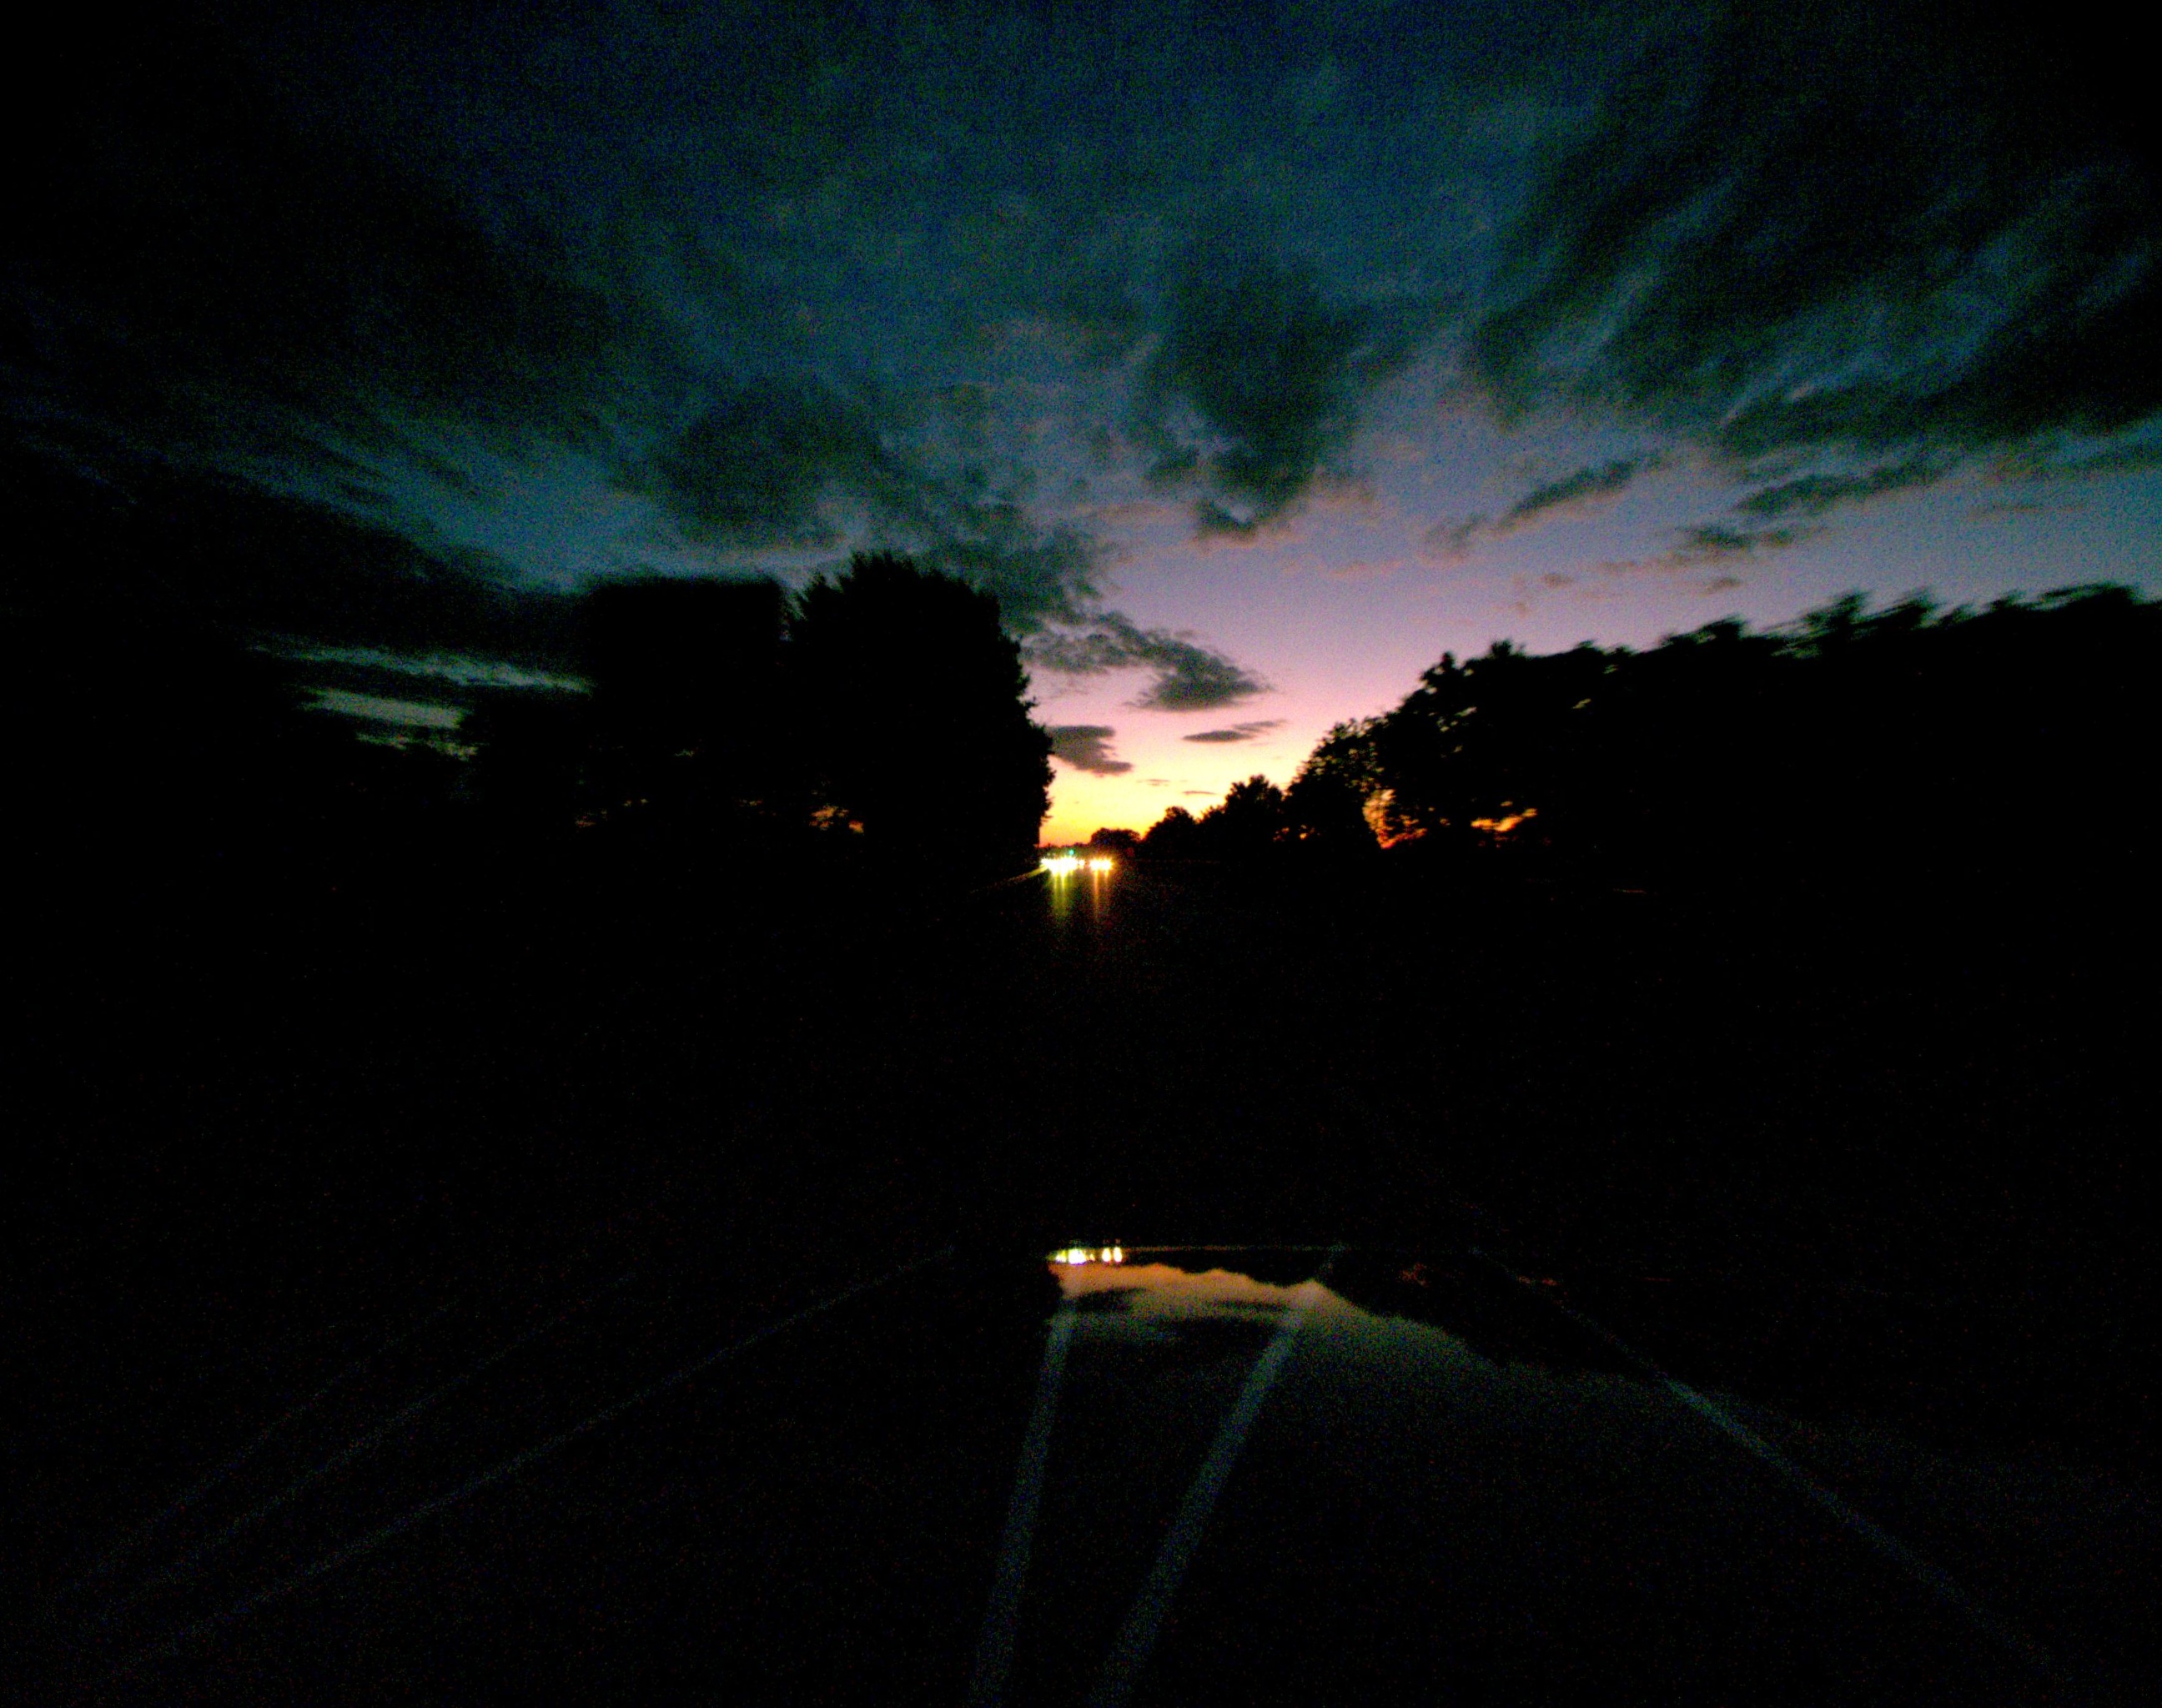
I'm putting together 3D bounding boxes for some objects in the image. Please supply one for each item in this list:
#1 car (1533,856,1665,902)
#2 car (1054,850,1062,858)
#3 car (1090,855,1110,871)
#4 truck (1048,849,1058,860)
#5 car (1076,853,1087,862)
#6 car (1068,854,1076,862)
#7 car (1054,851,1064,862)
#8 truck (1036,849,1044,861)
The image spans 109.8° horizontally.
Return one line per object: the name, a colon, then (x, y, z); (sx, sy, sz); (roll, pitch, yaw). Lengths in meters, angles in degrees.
car: (16.543, 0.751, 24.522); (1.633, 1.315, 3.940); (-2, 0, 1)
car: (-5.649, 0.002, 186.117); (1.999, 2.002, 3.999); (-2, 0, -2)
car: (2.033, 0.918, 82.337); (1.999, 1.635, 4.296); (-2, 0, -2)
truck: (-9.485, 0.159, 258.522); (3.016, 3.674, 9.056); (-2, 0, -2)
car: (0.092, 0.650, 146.144); (1.999, 1.778, 3.999); (-2, 0, -3)
car: (-2.335, 0.991, 195.181); (1.999, 2.002, 3.999); (-2, 0, -1)
car: (-4.071, 0.514, 138.822); (1.741, 2.002, 3.999); (-2, 0, -2)
truck: (-13.920, 0.341, 258.757); (2.491, 3.778, 5.497); (-2, 1, -2)
